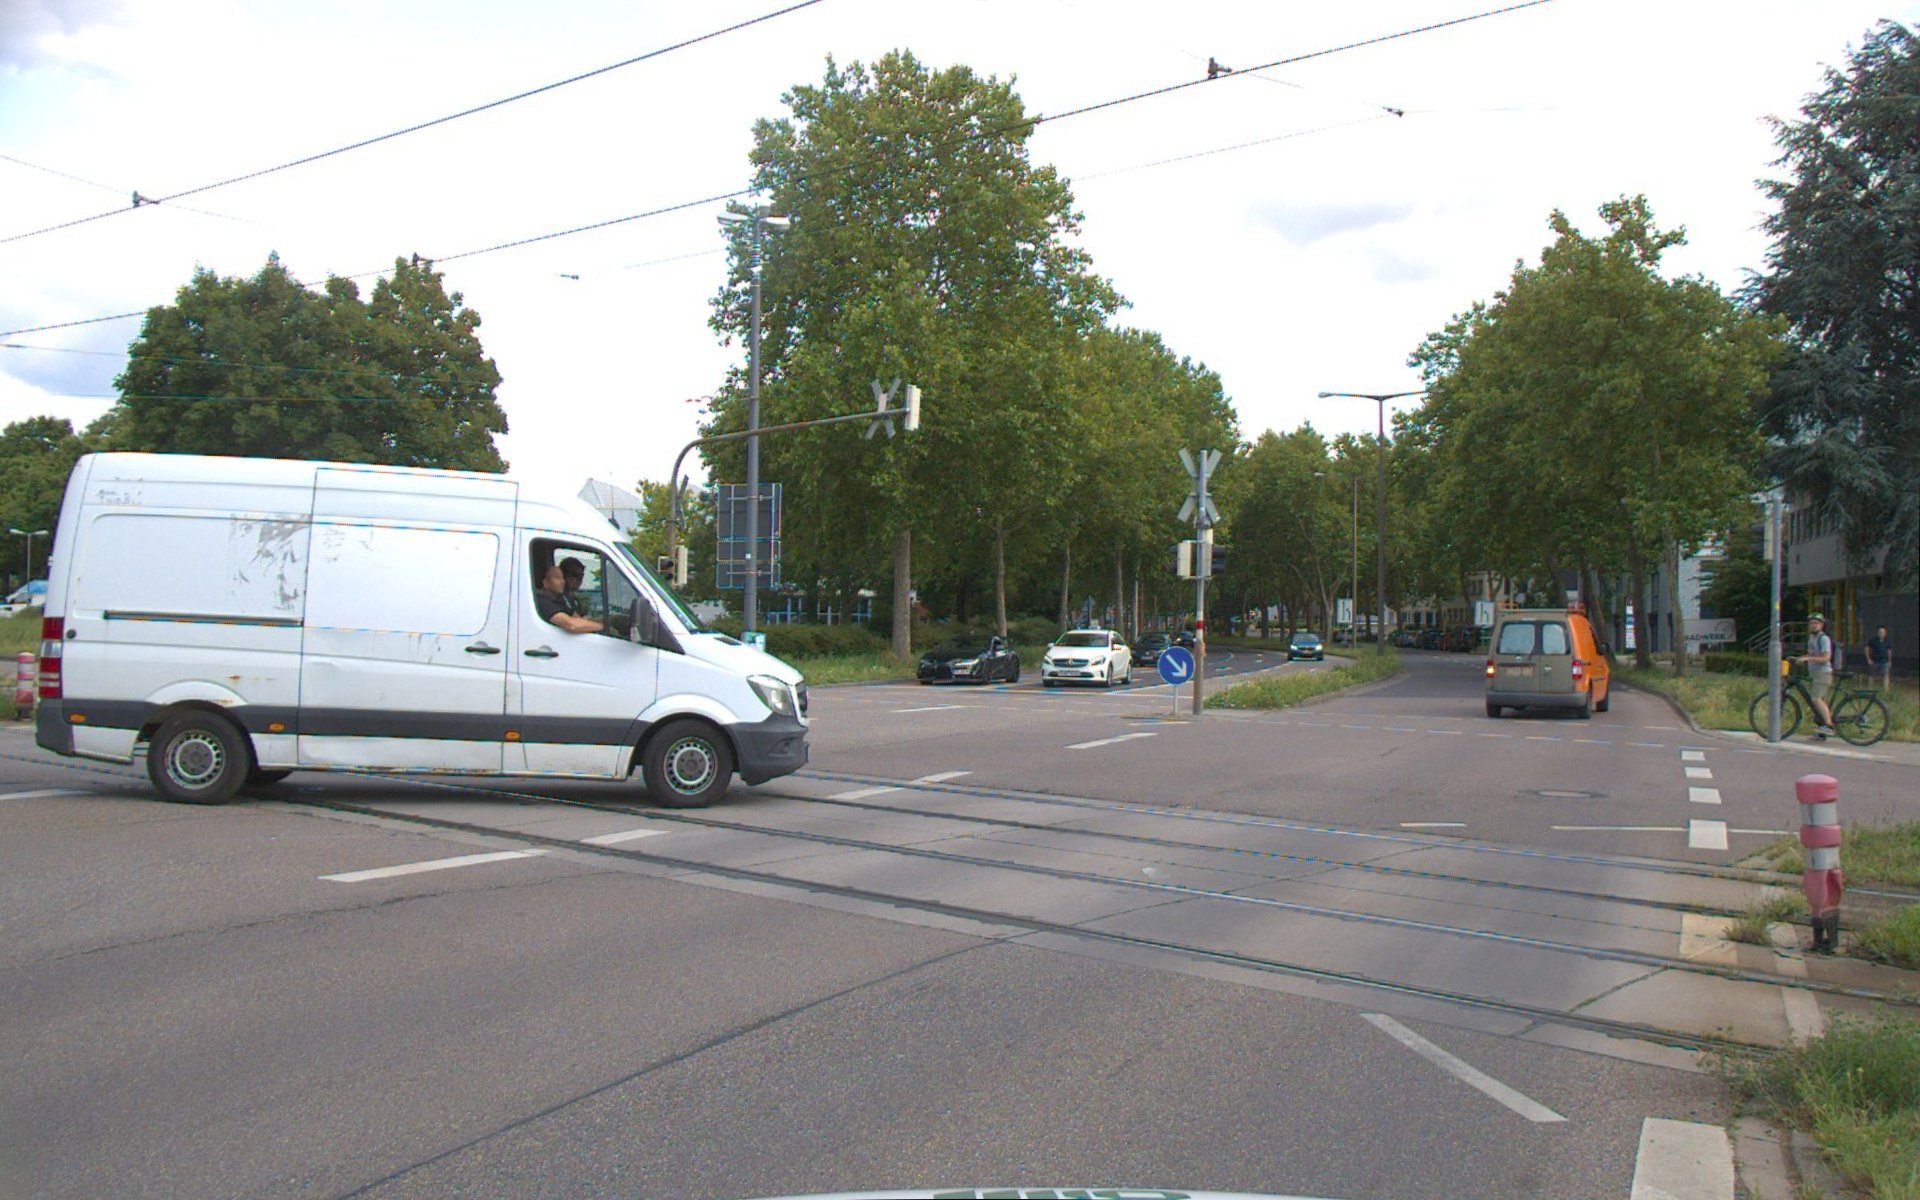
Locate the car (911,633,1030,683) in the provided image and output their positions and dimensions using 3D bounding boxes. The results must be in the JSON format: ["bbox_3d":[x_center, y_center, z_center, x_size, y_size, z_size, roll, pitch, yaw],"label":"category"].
[{"bbox_3d":[0.315,1.492,43.627,1.603,1.212,3.703,1,-1,28],"label":"car"}]

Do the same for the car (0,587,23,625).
[{"bbox_3d":[-43.525,0.233,74.282,1.979,1.669,4.333,2,-1,-37],"label":"car"}]

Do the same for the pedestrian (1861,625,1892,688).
[{"bbox_3d":[23.465,1.440,42.369,0.607,1.597,0.559,1,1,21],"label":"pedestrian"}]

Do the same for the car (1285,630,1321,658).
[{"bbox_3d":[18.134,2.304,87.588,1.621,1.293,3.774,0,1,8],"label":"car"}]

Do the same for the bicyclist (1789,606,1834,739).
[{"bbox_3d":[12.135,1.017,23.576,0.533,1.841,0.540,1,1,30],"label":"bicyclist"}]

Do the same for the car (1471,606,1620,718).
[{"bbox_3d":[10.623,1.073,29.832,1.842,1.831,4.363,1,-1,29],"label":"car"}]

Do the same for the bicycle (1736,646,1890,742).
[{"bbox_3d":[12.148,1.322,23.578,1.910,1.257,0.540,1,1,31],"label":"bicycle"}]

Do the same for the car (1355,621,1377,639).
[{"bbox_3d":[41.929,3.086,170.857,1.951,1.601,4.004,0,1,9],"label":"car"}]

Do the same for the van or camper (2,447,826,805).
[{"bbox_3d":[-4.111,0.248,13.382,5.904,2.569,1.979,1,-1,-8],"label":"van or camper"}]

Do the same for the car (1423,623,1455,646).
[{"bbox_3d":[37.881,2.697,130.867,1.951,1.601,4.004,0,1,9],"label":"car"}]

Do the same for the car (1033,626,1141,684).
[{"bbox_3d":[3.364,1.402,43.122,1.787,1.388,4.139,1,-1,19],"label":"car"}]

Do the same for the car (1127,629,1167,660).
[{"bbox_3d":[7.921,1.871,69.958,1.600,1.212,3.711,1,-1,7],"label":"car"}]
